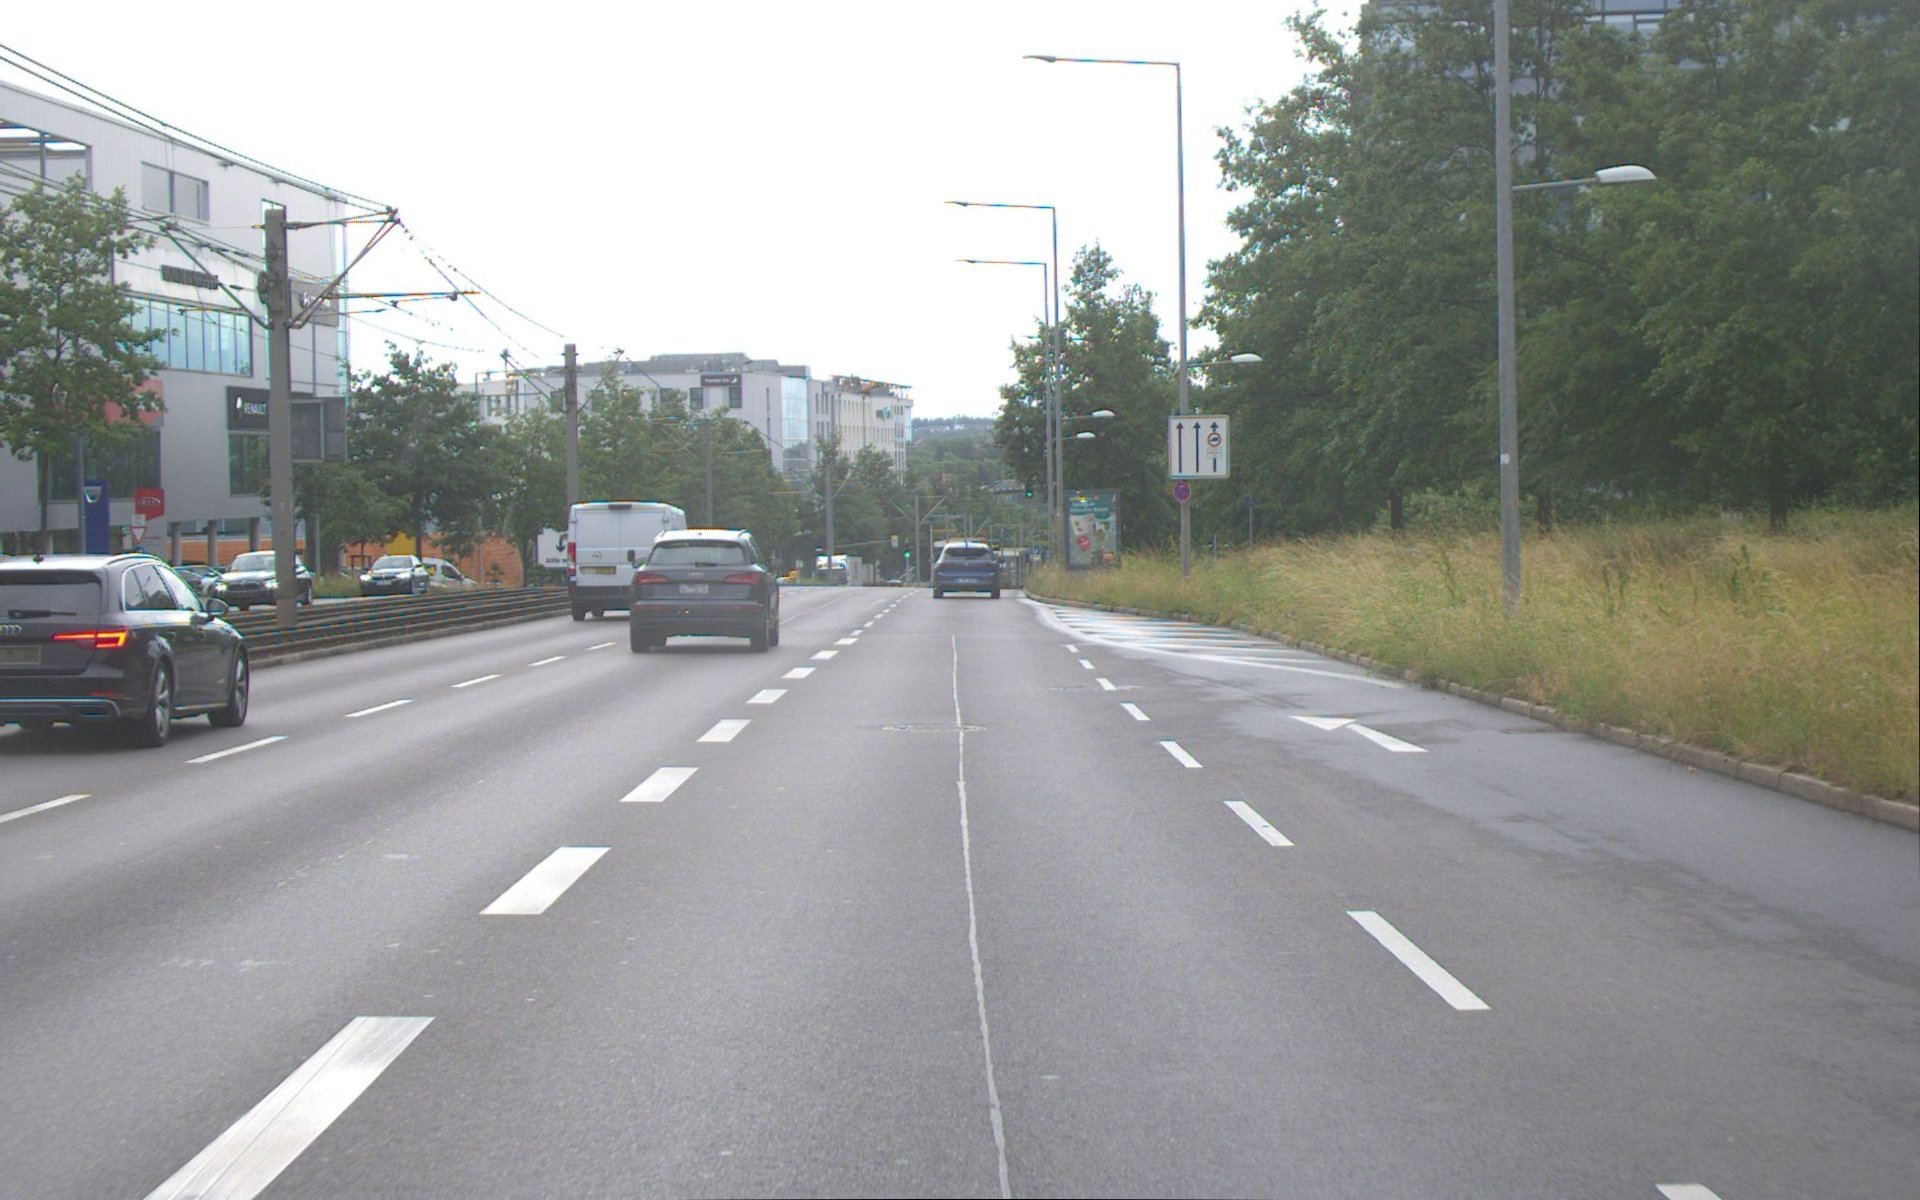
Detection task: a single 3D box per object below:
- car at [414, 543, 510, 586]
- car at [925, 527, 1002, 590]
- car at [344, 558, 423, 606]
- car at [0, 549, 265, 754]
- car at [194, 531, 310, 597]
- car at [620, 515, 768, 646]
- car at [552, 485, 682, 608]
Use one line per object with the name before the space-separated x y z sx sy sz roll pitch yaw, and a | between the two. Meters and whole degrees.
car | -27.999 -1.970 193.190 5.301 2.305 2.020 1 -1 -10
car | 0.066 -1.097 91.156 1.789 1.585 4.001 -2 1 -3
car | -20.131 -0.656 120.197 1.841 1.481 4.654 -4 1 0
car | -6.674 0.324 26.440 1.786 1.409 4.806 0 1 -1
car | -16.983 -0.846 82.681 1.772 1.497 4.199 0 -1 2
car | -3.614 -0.299 47.237 1.922 1.704 4.099 1 1 -3
car | -6.625 -1.047 66.860 2.267 2.277 4.760 1 1 -3
